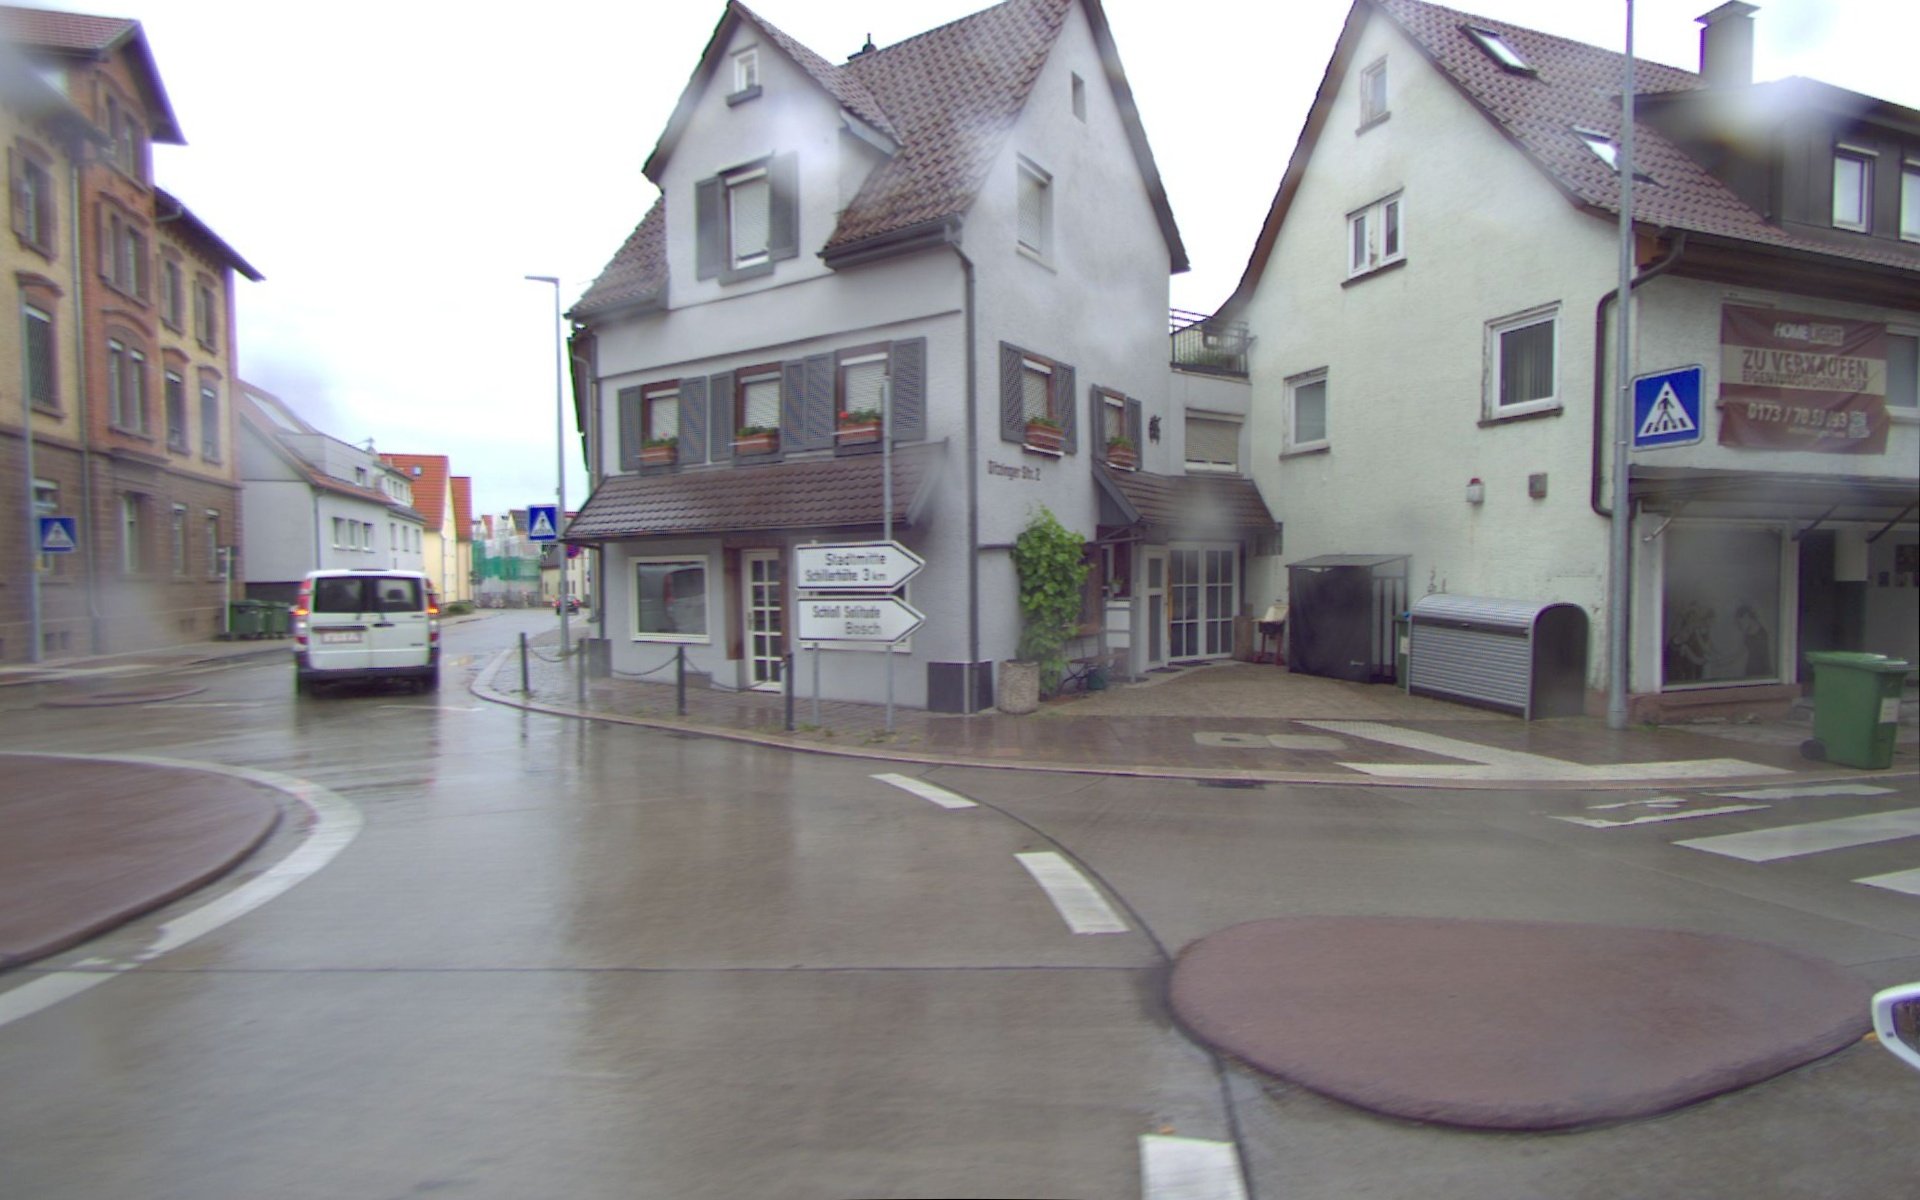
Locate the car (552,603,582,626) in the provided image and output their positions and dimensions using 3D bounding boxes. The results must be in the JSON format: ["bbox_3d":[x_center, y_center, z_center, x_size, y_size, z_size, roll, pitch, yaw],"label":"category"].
[{"bbox_3d":[-30.018,1.108,76.861,1.948,1.702,4.051,0,-1,-19],"label":"car"}]

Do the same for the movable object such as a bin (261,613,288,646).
[{"bbox_3d":[-24.432,1.049,35.795,0.661,1.184,0.597,1,0,-24],"label":"movable object such as a bin"}]

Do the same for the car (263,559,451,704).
[{"bbox_3d":[-9.706,0.459,15.967,2.139,1.924,4.875,0,-1,-36],"label":"car"}]

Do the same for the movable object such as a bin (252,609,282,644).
[{"bbox_3d":[-24.141,0.915,34.981,0.740,1.184,0.628,1,0,-24],"label":"movable object such as a bin"}]

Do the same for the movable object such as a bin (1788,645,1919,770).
[{"bbox_3d":[8.743,1.025,9.838,0.751,1.096,0.684,1,3,-27],"label":"movable object such as a bin"}]
